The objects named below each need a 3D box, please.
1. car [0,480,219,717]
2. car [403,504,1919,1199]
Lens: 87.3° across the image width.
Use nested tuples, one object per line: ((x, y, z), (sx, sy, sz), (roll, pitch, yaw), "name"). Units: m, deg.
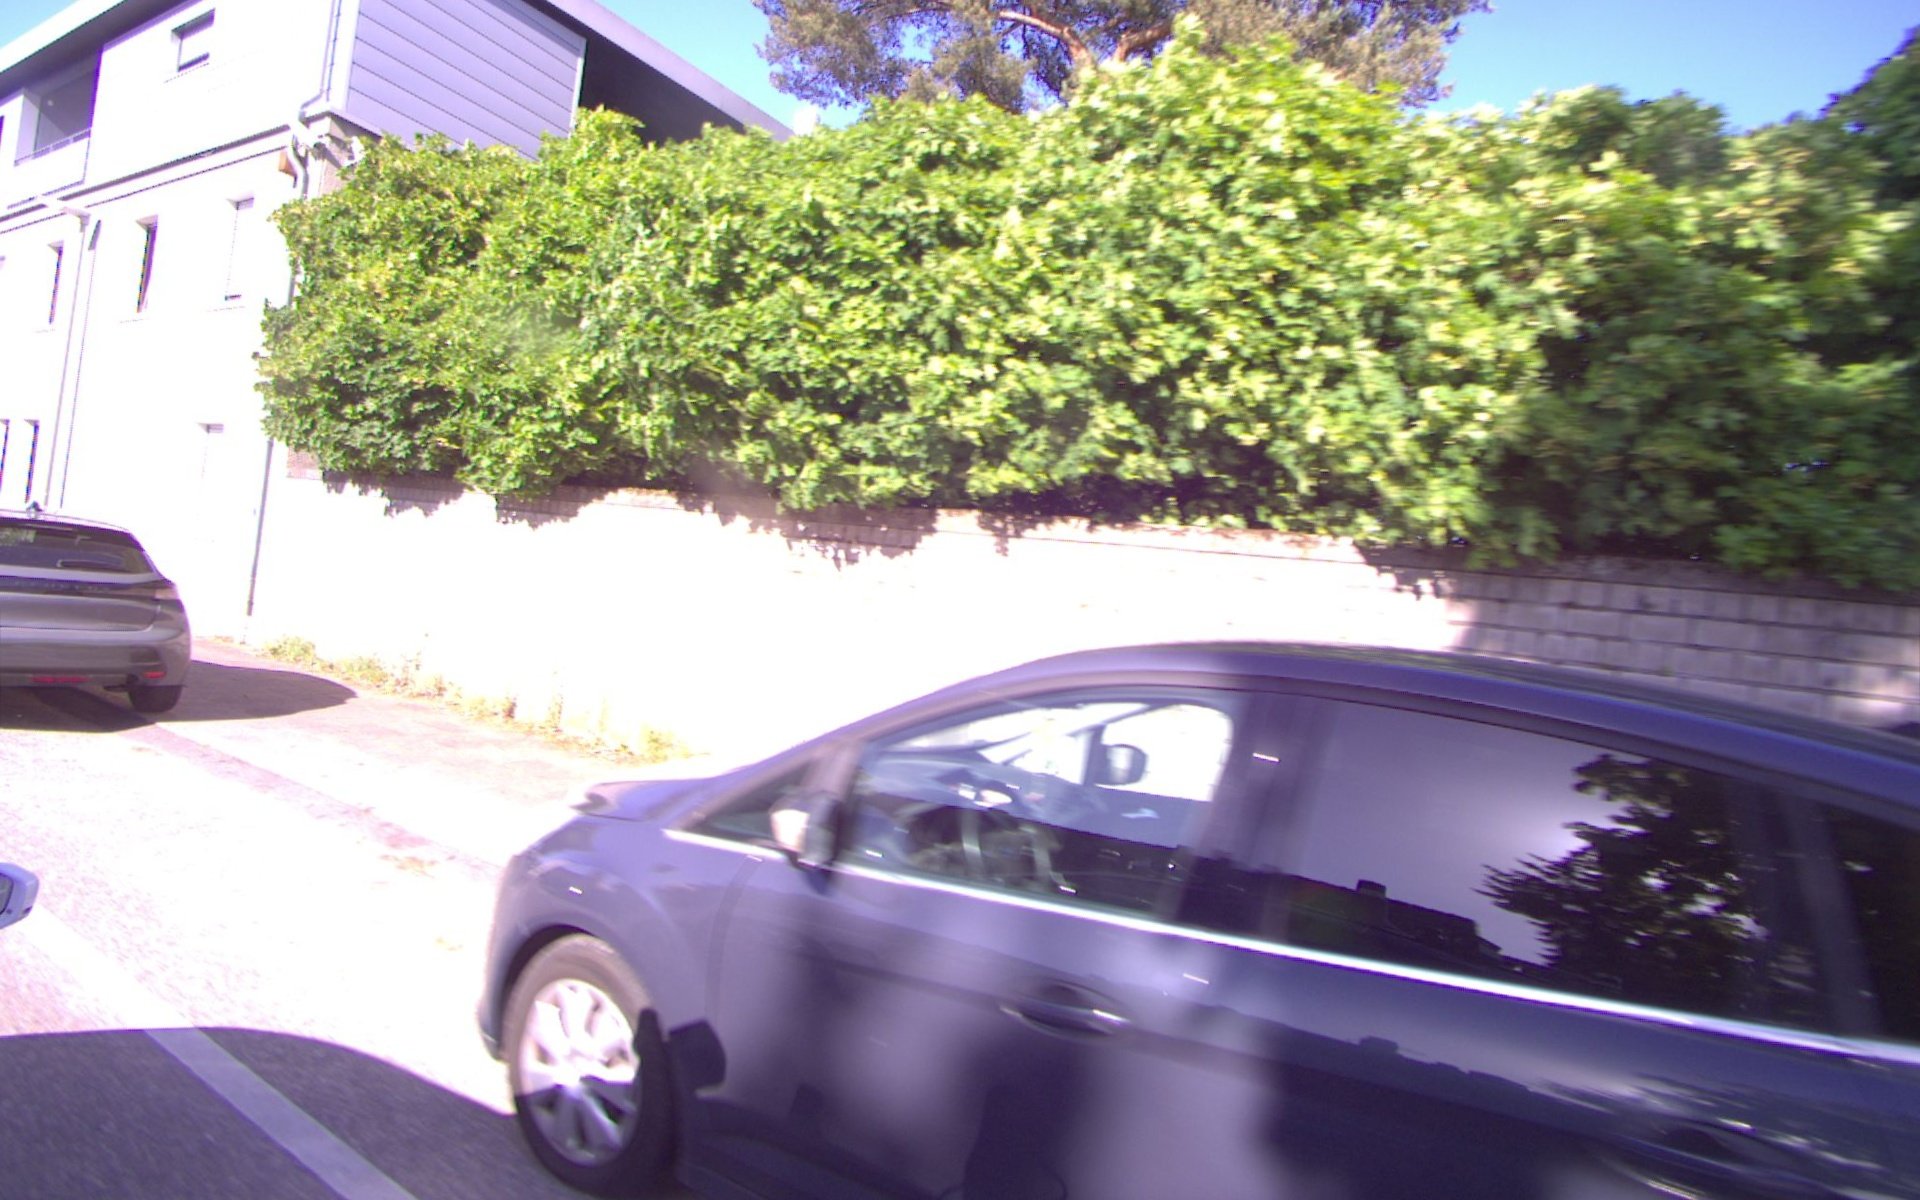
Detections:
((-7.645, -0.191, 7.807), (3.965, 1.523, 1.661), (7, 0, 33), "car")
((0.732, 0.855, 2.479), (4.134, 1.632, 1.685), (7, -2, 31), "car")
